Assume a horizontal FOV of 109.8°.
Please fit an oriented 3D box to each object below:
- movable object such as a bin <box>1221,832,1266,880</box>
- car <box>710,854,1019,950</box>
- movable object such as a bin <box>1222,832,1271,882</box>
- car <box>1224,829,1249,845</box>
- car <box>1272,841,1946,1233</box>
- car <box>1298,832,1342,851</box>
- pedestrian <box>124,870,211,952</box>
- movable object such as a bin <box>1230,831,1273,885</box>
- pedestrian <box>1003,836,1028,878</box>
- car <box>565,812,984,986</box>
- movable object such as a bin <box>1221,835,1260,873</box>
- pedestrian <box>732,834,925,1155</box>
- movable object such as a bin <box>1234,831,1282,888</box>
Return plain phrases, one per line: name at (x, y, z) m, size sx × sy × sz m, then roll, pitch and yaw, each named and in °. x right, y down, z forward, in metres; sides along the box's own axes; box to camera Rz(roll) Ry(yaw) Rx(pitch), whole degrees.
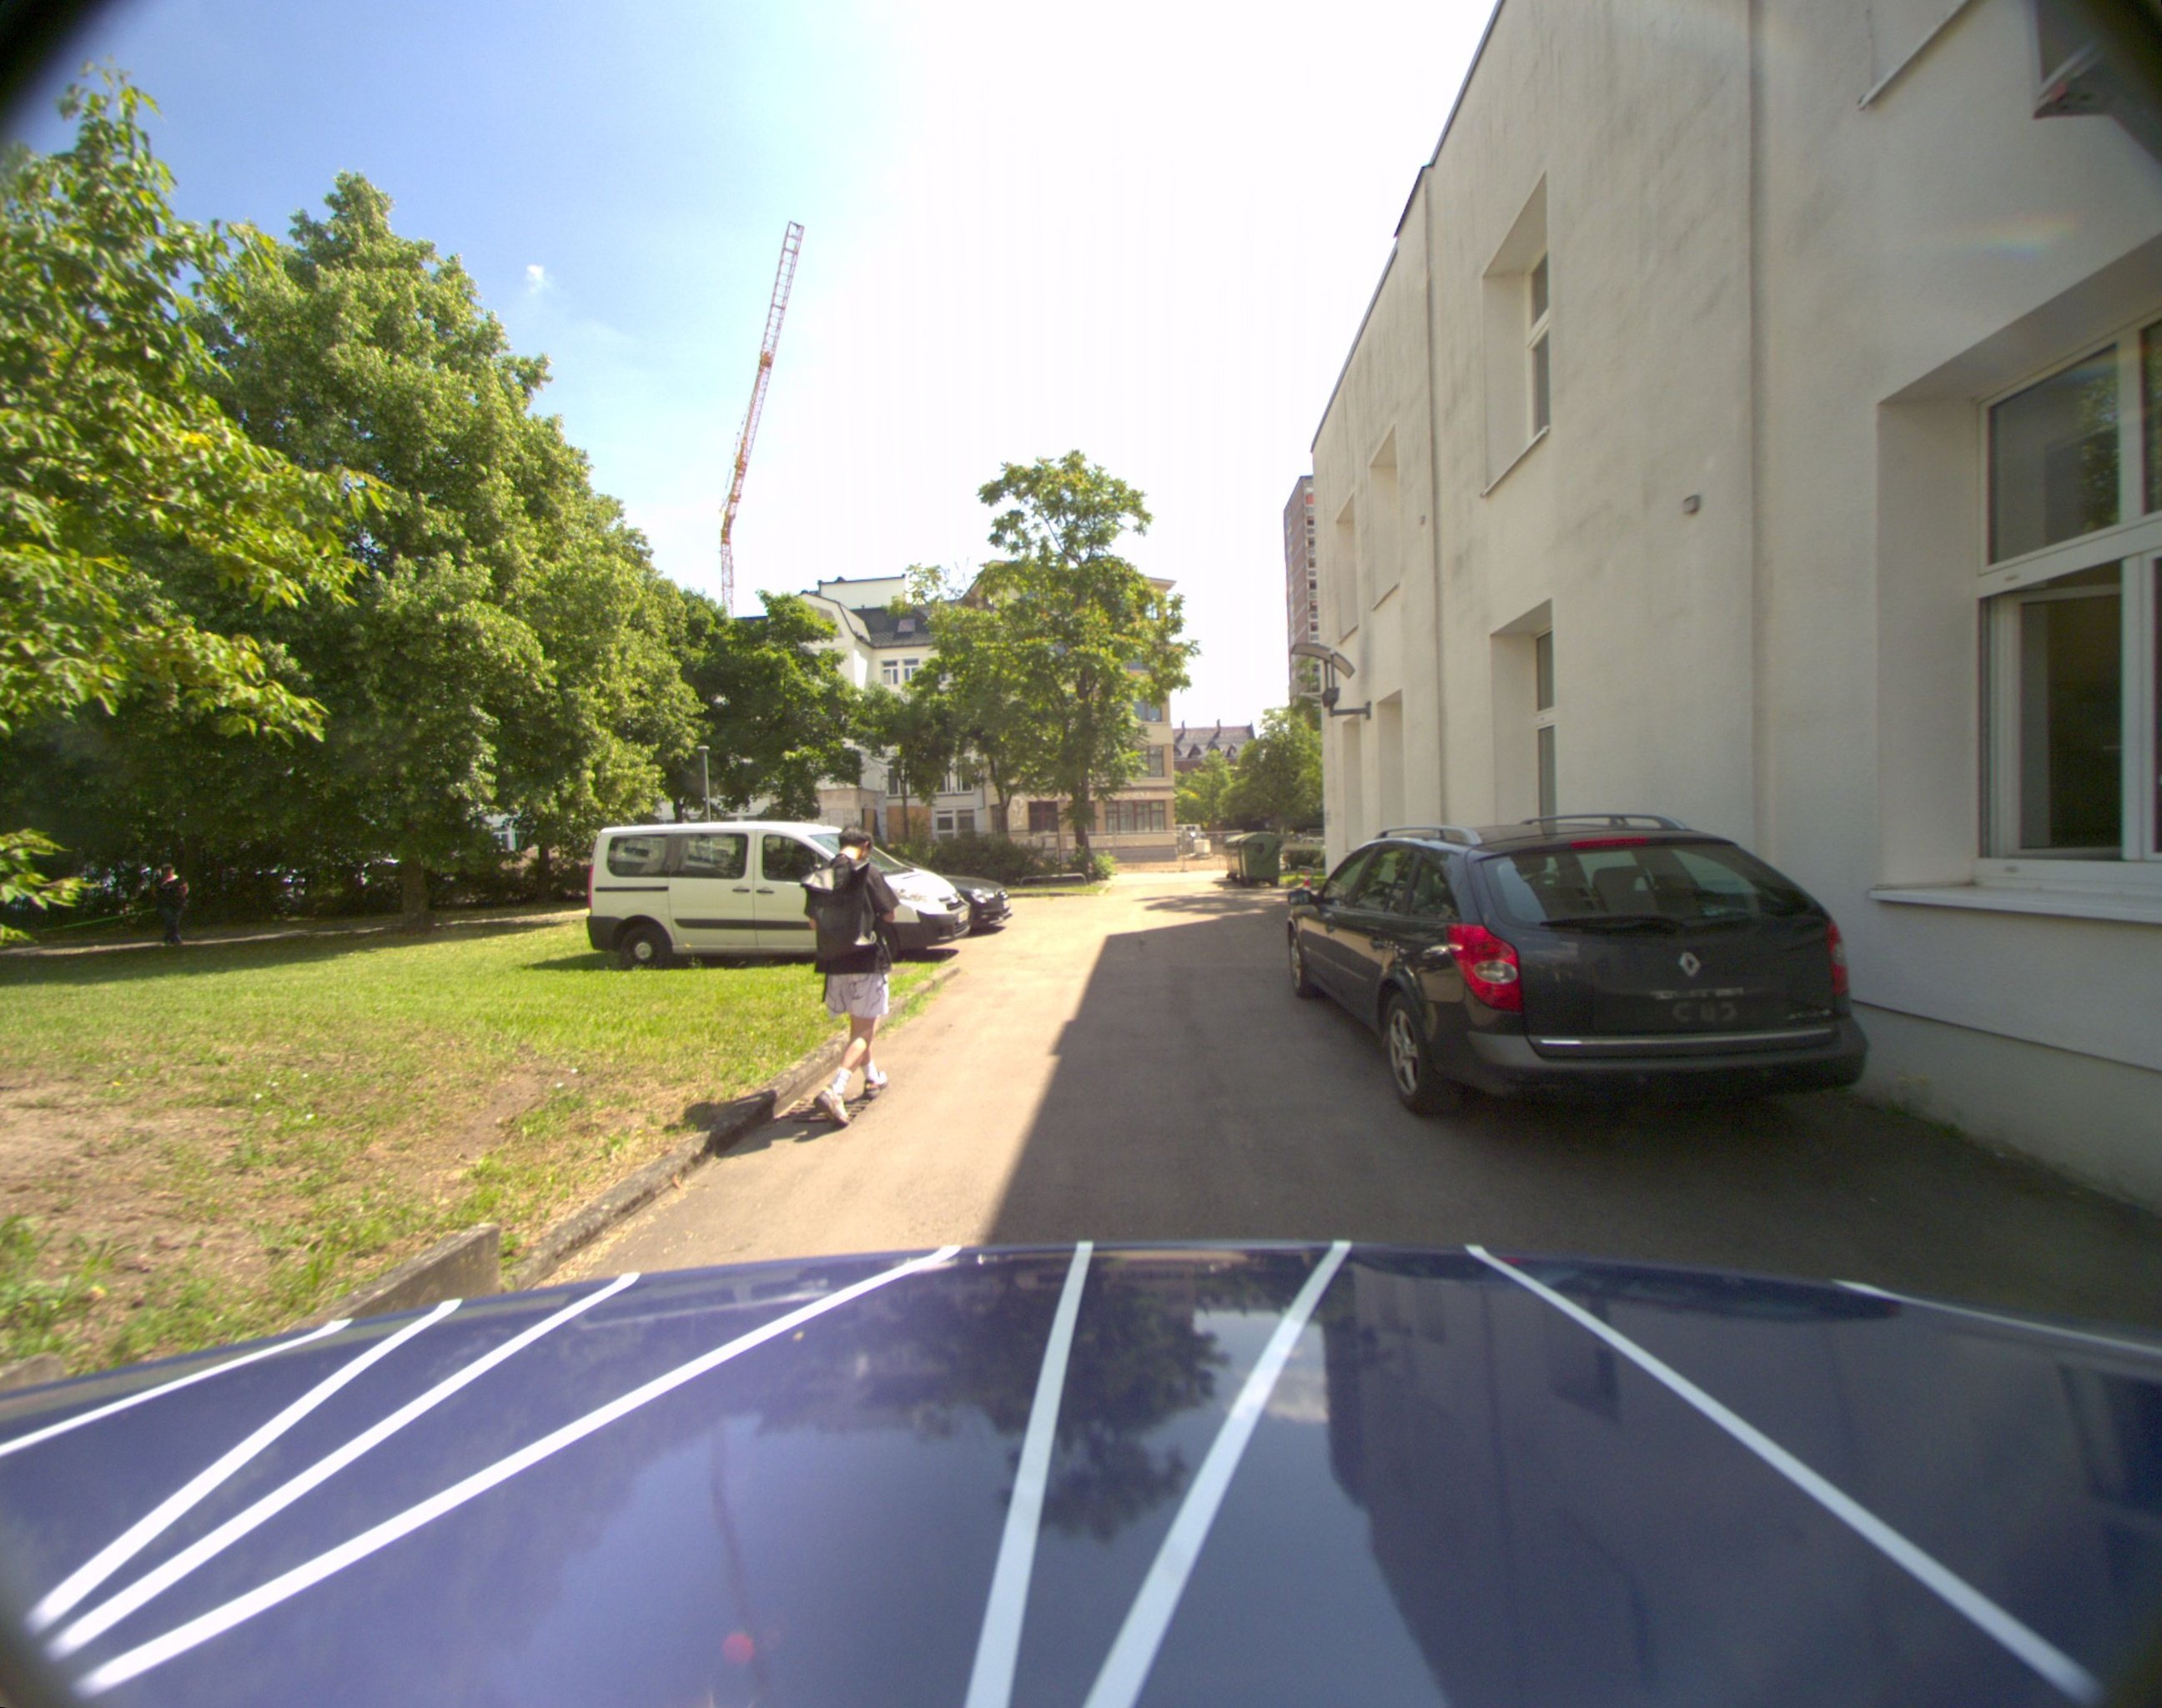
movable object such as a bin at (5.259, 0.047, 24.717) m, size 1.207 × 1.471 × 1.325 m, roll -2°, pitch 2°, yaw 2°
car at (-3.510, 0.767, 12.850) m, size 4.621 × 1.344 × 1.834 m, roll -2°, pitch 1°, yaw 5°
movable object such as a bin at (5.065, 0.074, 23.374) m, size 1.096 × 1.471 × 1.359 m, roll -2°, pitch 2°, yaw -5°
car at (20.956, -2.278, 102.157) m, size 1.995 × 2.002 × 4.007 m, roll -1°, pitch 2°, yaw 33°
car at (2.502, 0.668, 5.036) m, size 1.758 × 1.422 × 4.387 m, roll -2°, pitch 1°, yaw 6°
car at (19.632, -1.010, 62.531) m, size 1.624 × 1.432 × 3.577 m, roll -2°, pitch 1°, yaw -19°
pedestrian at (-18.355, 1.135, 15.283) m, size 0.750 × 1.555 × 0.740 m, roll -2°, pitch 2°, yaw -5°
movable object such as a bin at (4.924, 0.100, 21.992) m, size 1.046 × 1.471 × 1.262 m, roll -2°, pitch 2°, yaw 6°
pedestrian at (-2.918, 0.123, 33.917) m, size 0.968 × 1.809 × 0.869 m, roll -2°, pitch 2°, yaw -11°
car at (-3.938, 0.550, 10.297) m, size 4.769 × 2.002 × 2.000 m, roll -2°, pitch 2°, yaw 6°
movable object such as a bin at (5.937, -0.008, 28.255) m, size 1.113 × 1.386 × 1.162 m, roll -1°, pitch 2°, yaw 28°
pedestrian at (-1.454, 0.773, 4.516) m, size 0.758 × 1.745 × 0.751 m, roll -2°, pitch 2°, yaw 6°
movable object such as a bin at (4.756, 0.128, 20.509) m, size 1.046 × 1.471 × 1.410 m, roll -2°, pitch 2°, yaw 6°
